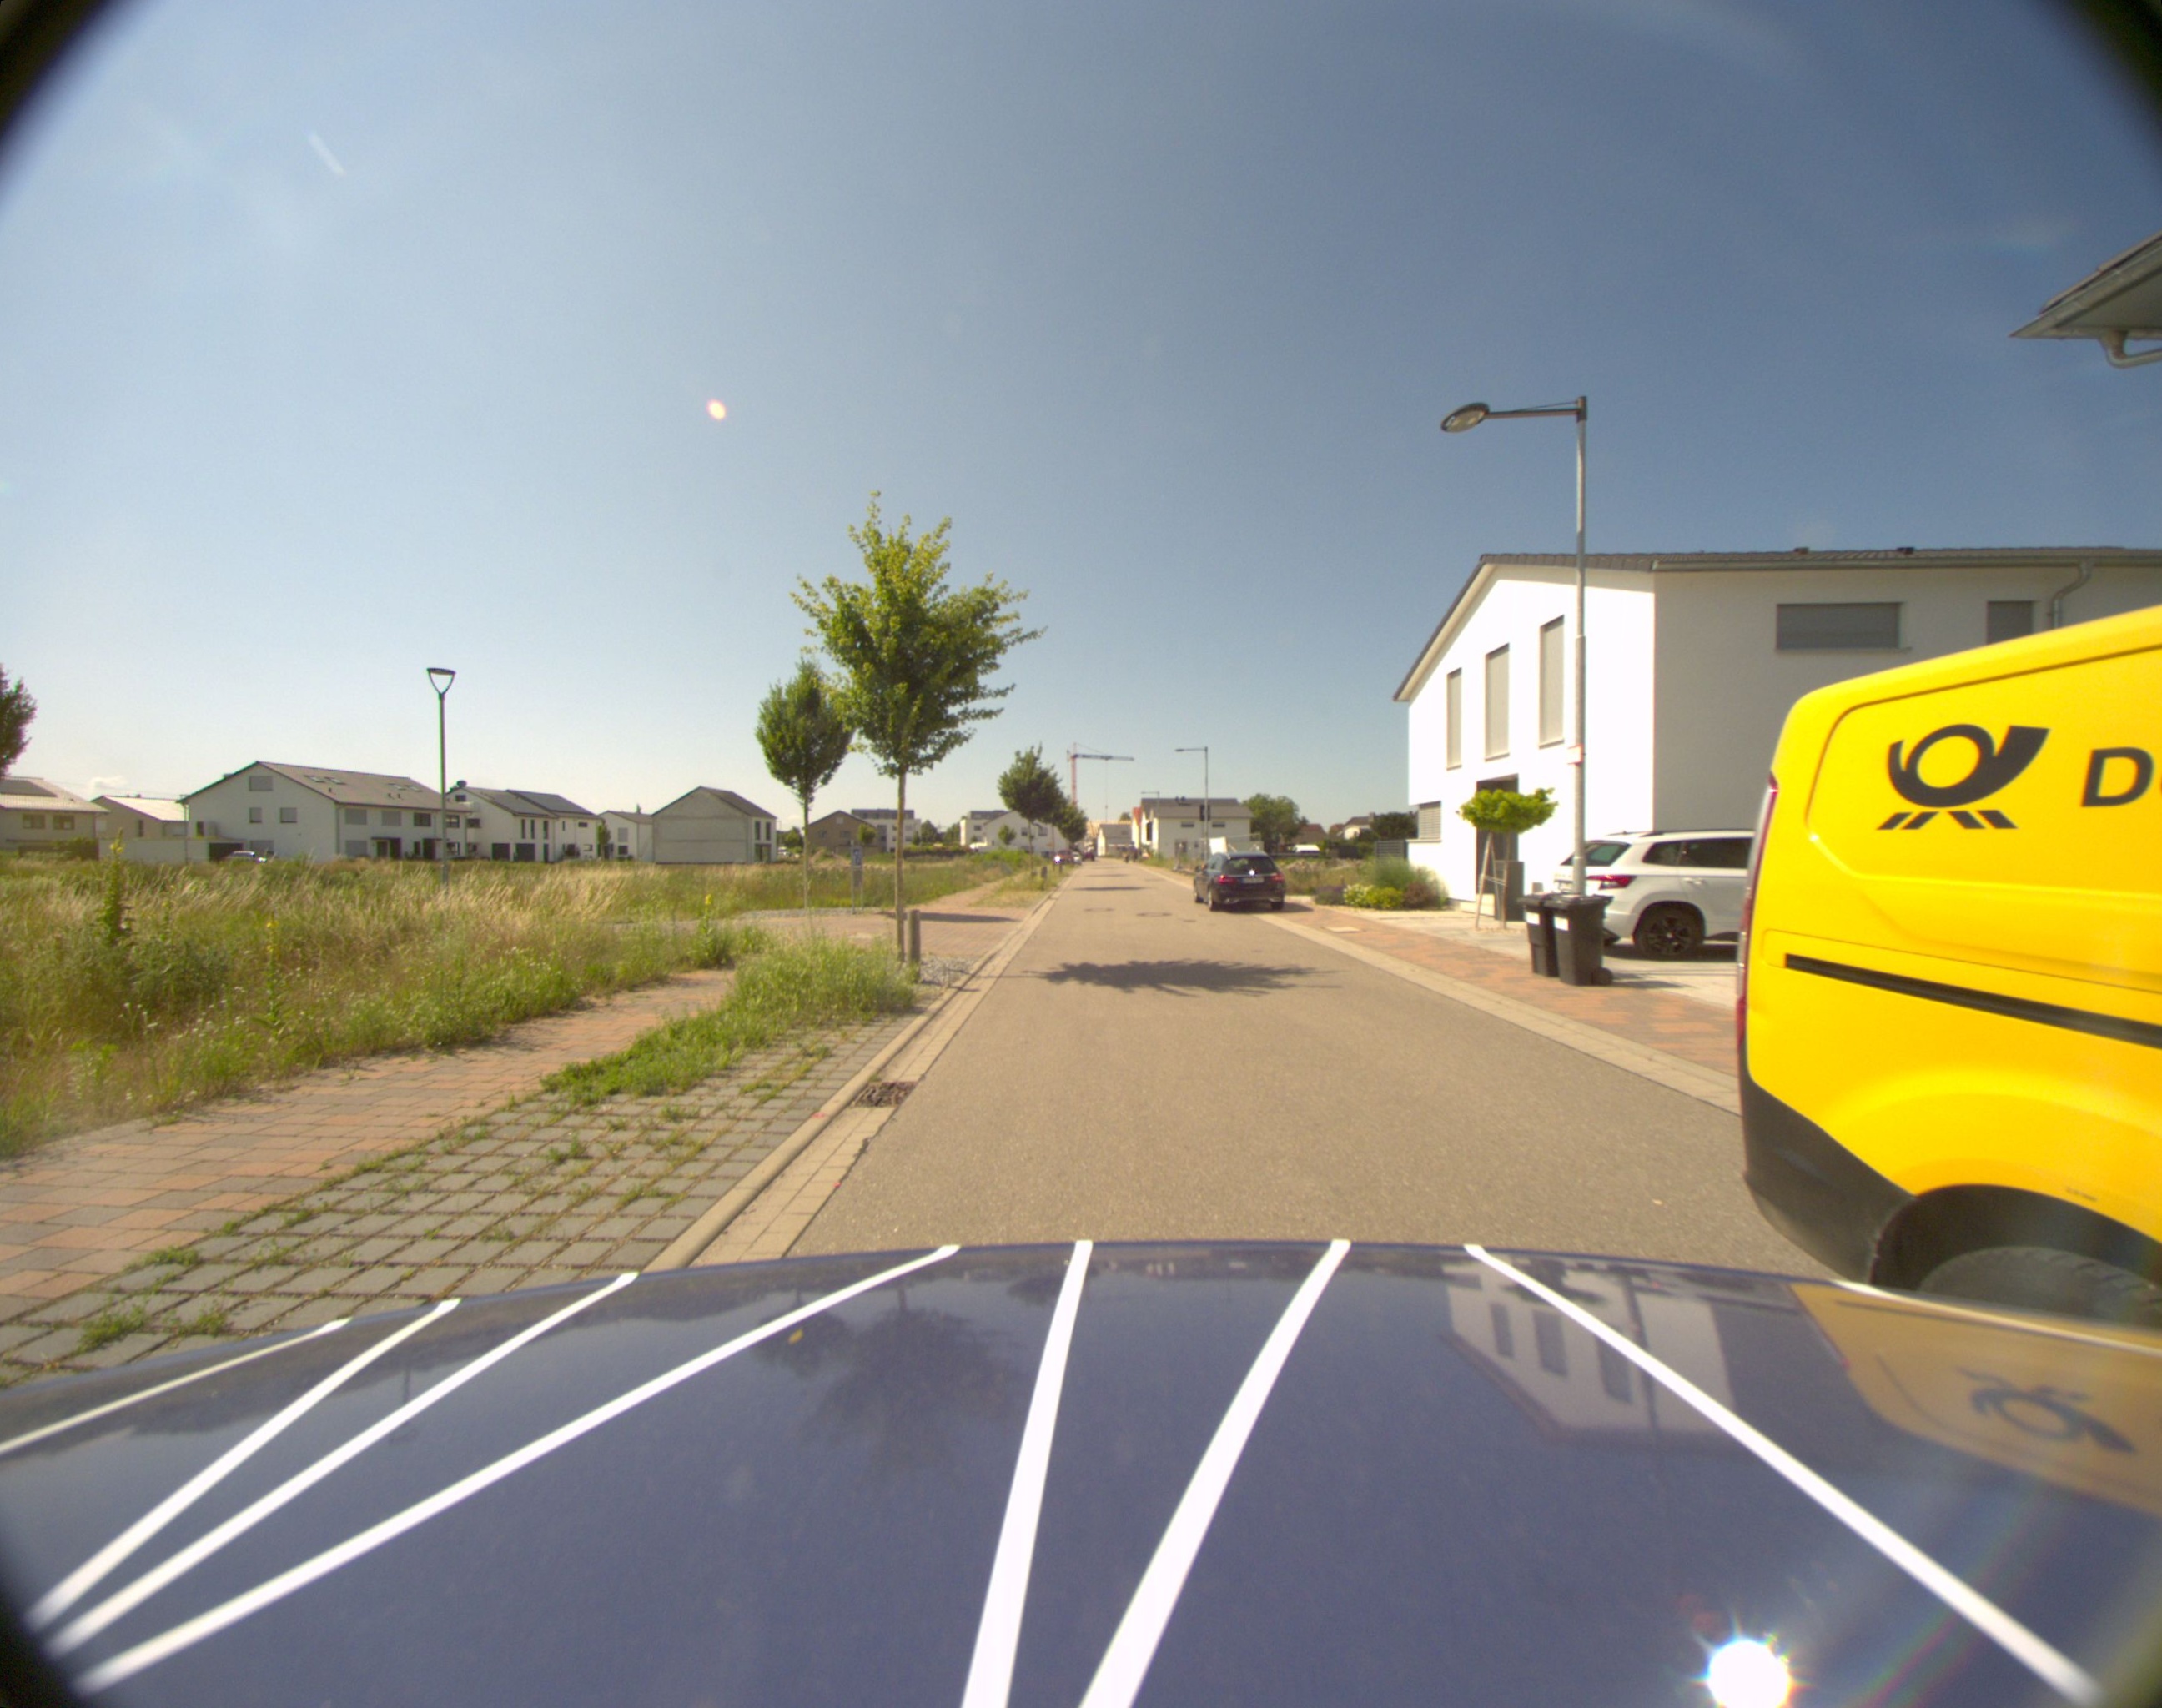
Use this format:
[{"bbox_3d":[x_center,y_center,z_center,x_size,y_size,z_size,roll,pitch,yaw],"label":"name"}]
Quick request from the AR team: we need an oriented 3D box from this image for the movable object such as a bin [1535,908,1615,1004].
[{"bbox_3d":[5.128,1.041,7.908,0.487,0.920,0.530,-1,1,-2],"label":"movable object such as a bin"}]

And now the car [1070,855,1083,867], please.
[{"bbox_3d":[-0.477,0.813,91.085,1.493,1.389,3.272,0,1,1],"label":"car"}]

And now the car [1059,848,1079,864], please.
[{"bbox_3d":[-1.096,0.155,71.649,1.769,1.483,4.000,0,1,1],"label":"car"}]

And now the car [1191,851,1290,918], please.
[{"bbox_3d":[3.996,0.698,19.754,1.694,1.464,4.445,-2,1,1],"label":"car"}]

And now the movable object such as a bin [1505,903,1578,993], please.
[{"bbox_3d":[5.112,1.031,8.455,0.487,0.920,0.530,-1,1,-2],"label":"movable object such as a bin"}]

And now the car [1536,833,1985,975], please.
[{"bbox_3d":[8.381,0.602,9.753,3.962,1.610,1.795,-1,1,8],"label":"car"}]
